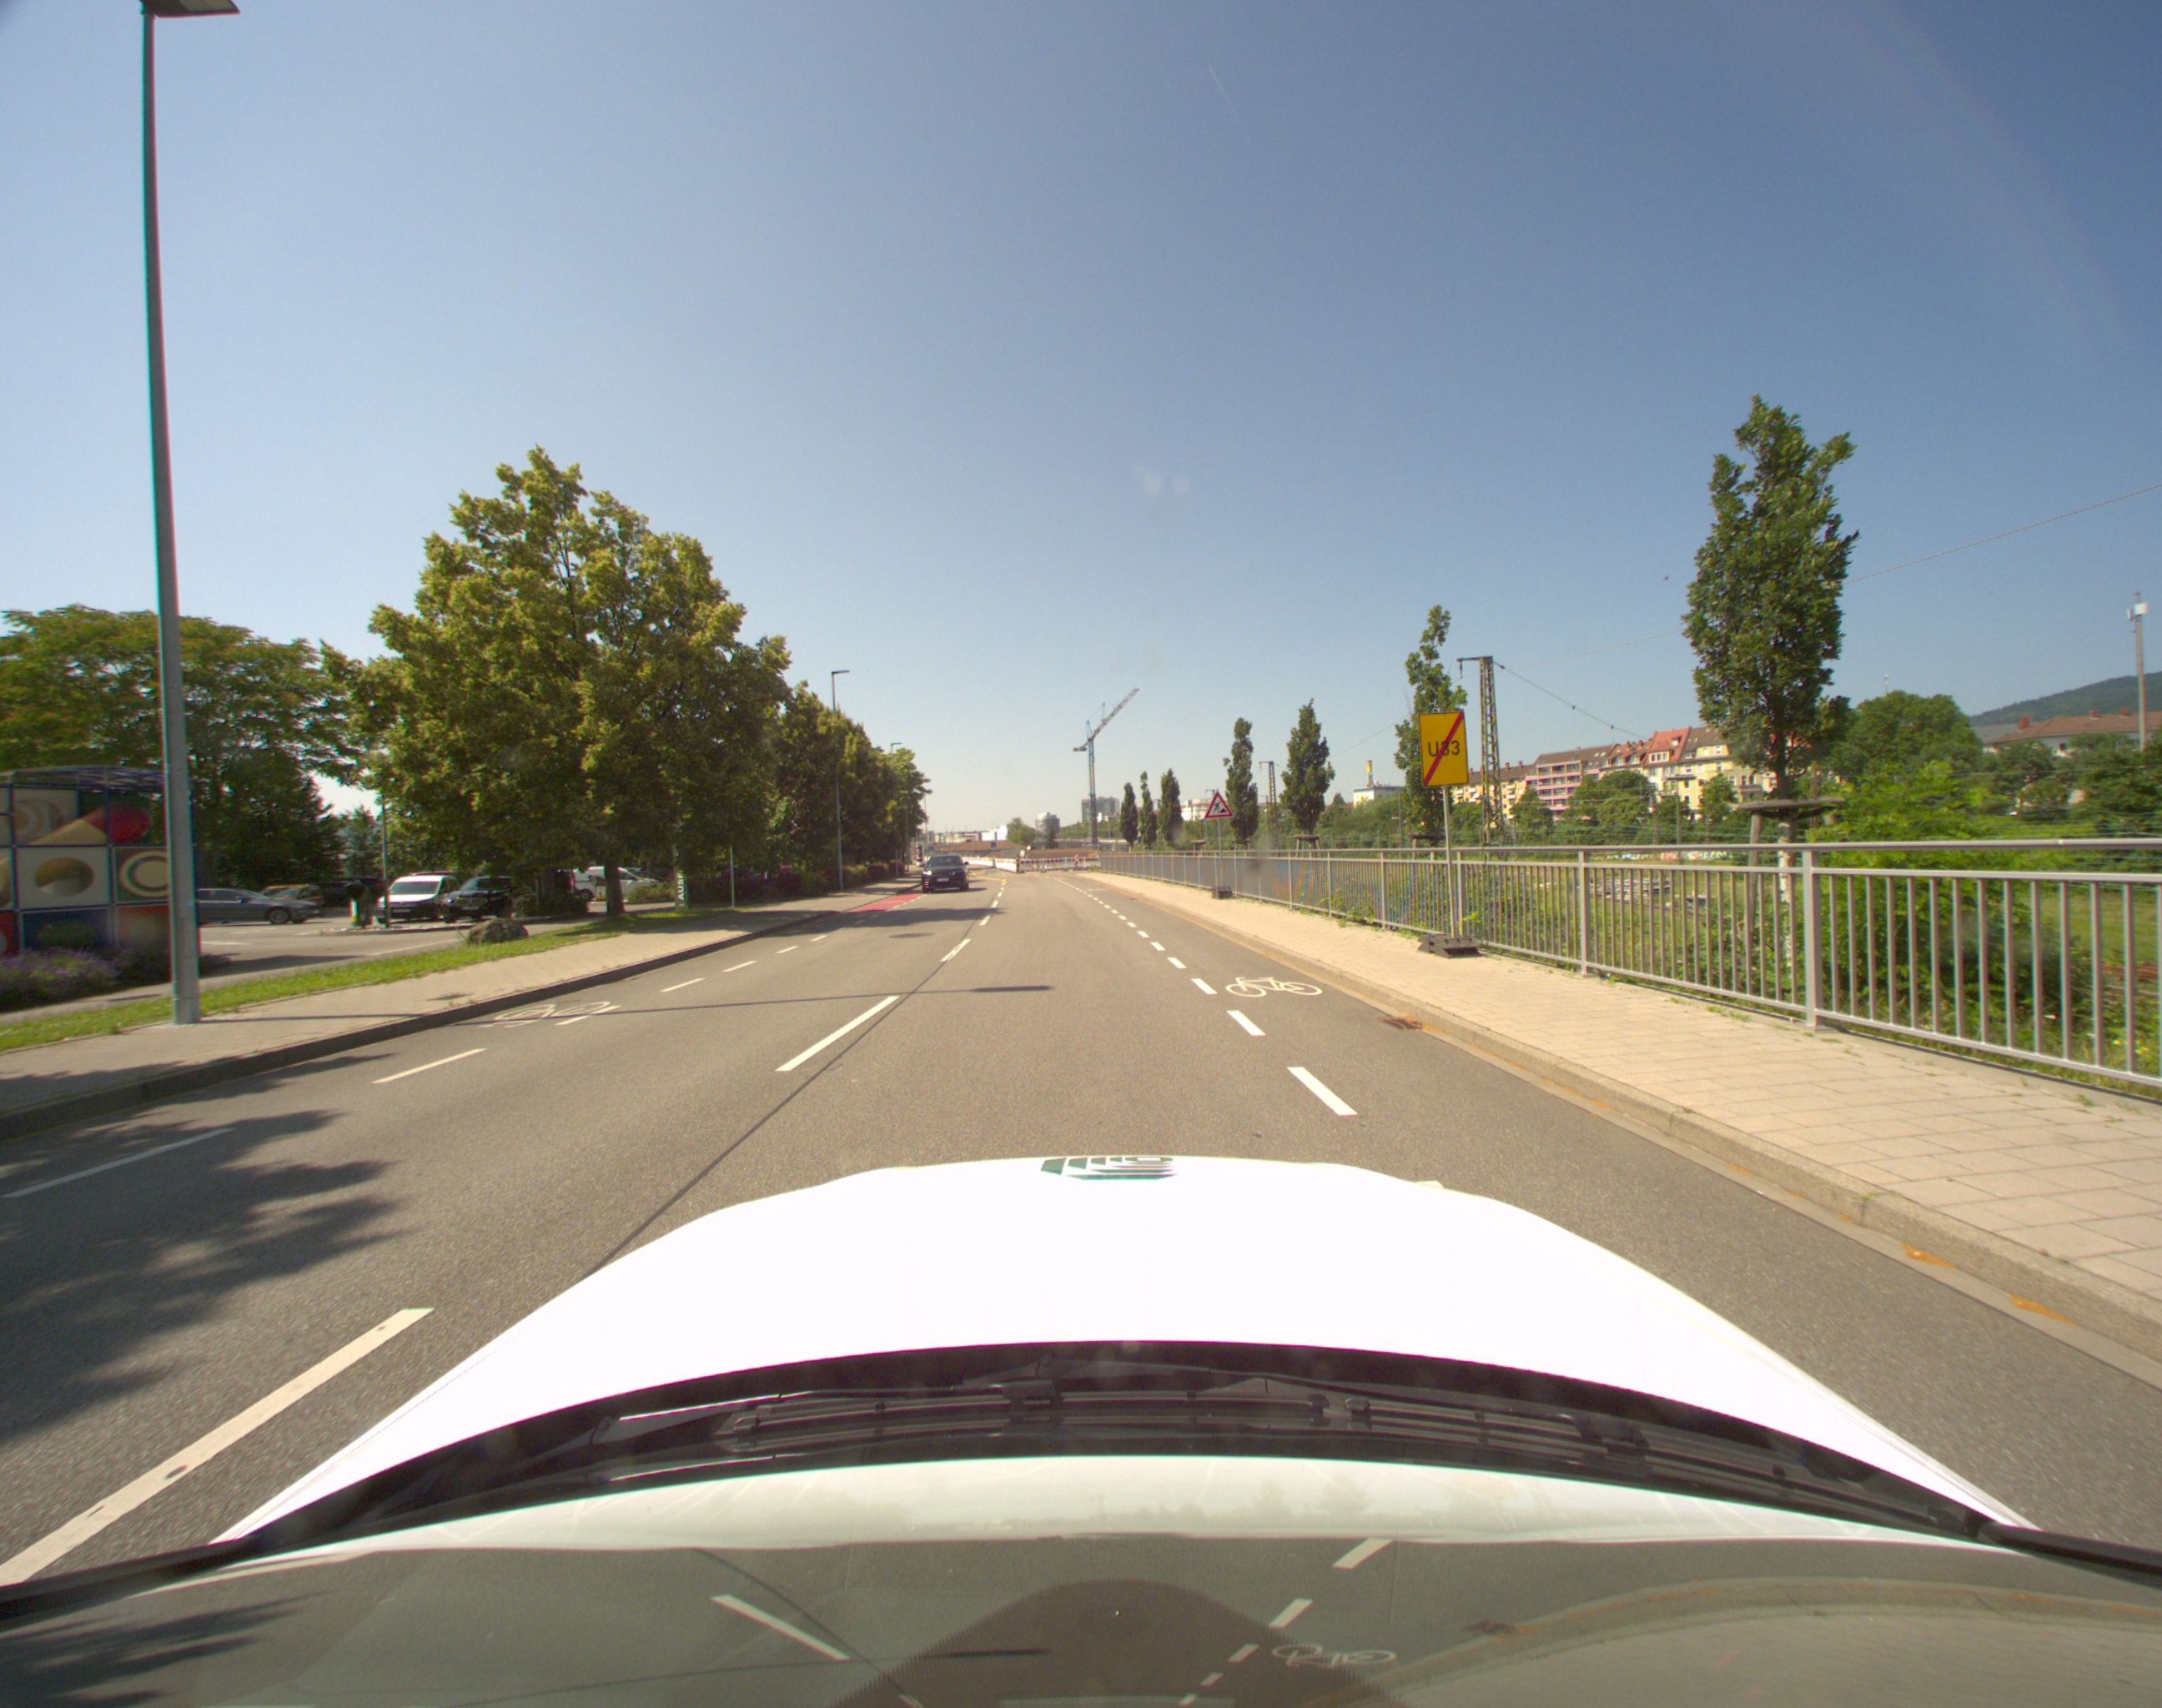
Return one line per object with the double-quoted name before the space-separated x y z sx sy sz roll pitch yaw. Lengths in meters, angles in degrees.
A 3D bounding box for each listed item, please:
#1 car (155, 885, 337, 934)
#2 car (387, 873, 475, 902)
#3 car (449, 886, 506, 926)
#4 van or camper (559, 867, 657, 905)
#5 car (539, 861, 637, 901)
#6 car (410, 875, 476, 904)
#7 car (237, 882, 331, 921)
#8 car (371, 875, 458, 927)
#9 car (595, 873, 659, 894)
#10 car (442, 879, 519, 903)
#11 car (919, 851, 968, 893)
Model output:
"car" -31.657 2.059 31.080 4.405 1.438 1.981 -3 1 -29
"car" -42.232 2.145 52.986 3.997 1.598 1.788 -3 0 -18
"car" -22.850 1.912 30.856 1.616 1.285 3.955 -3 1 -37
"van or camper" -25.526 1.712 44.105 4.289 1.740 1.985 -3 0 -23
"car" -28.971 1.550 48.042 4.759 2.013 2.066 -3 0 -28
"car" -37.267 2.084 47.583 3.391 1.526 1.510 -2 0 23
"car" -35.428 2.069 36.332 1.646 1.488 3.637 -3 1 -21
"car" -26.032 1.764 31.949 1.722 1.735 4.210 -3 1 -27
"car" -36.966 2.373 66.393 4.289 1.438 1.985 -3 0 -23
"car" -41.338 2.523 56.150 4.011 1.338 1.571 -3 1 -29
"car" -6.286 0.778 36.906 1.951 1.695 4.594 -3 1 -12
